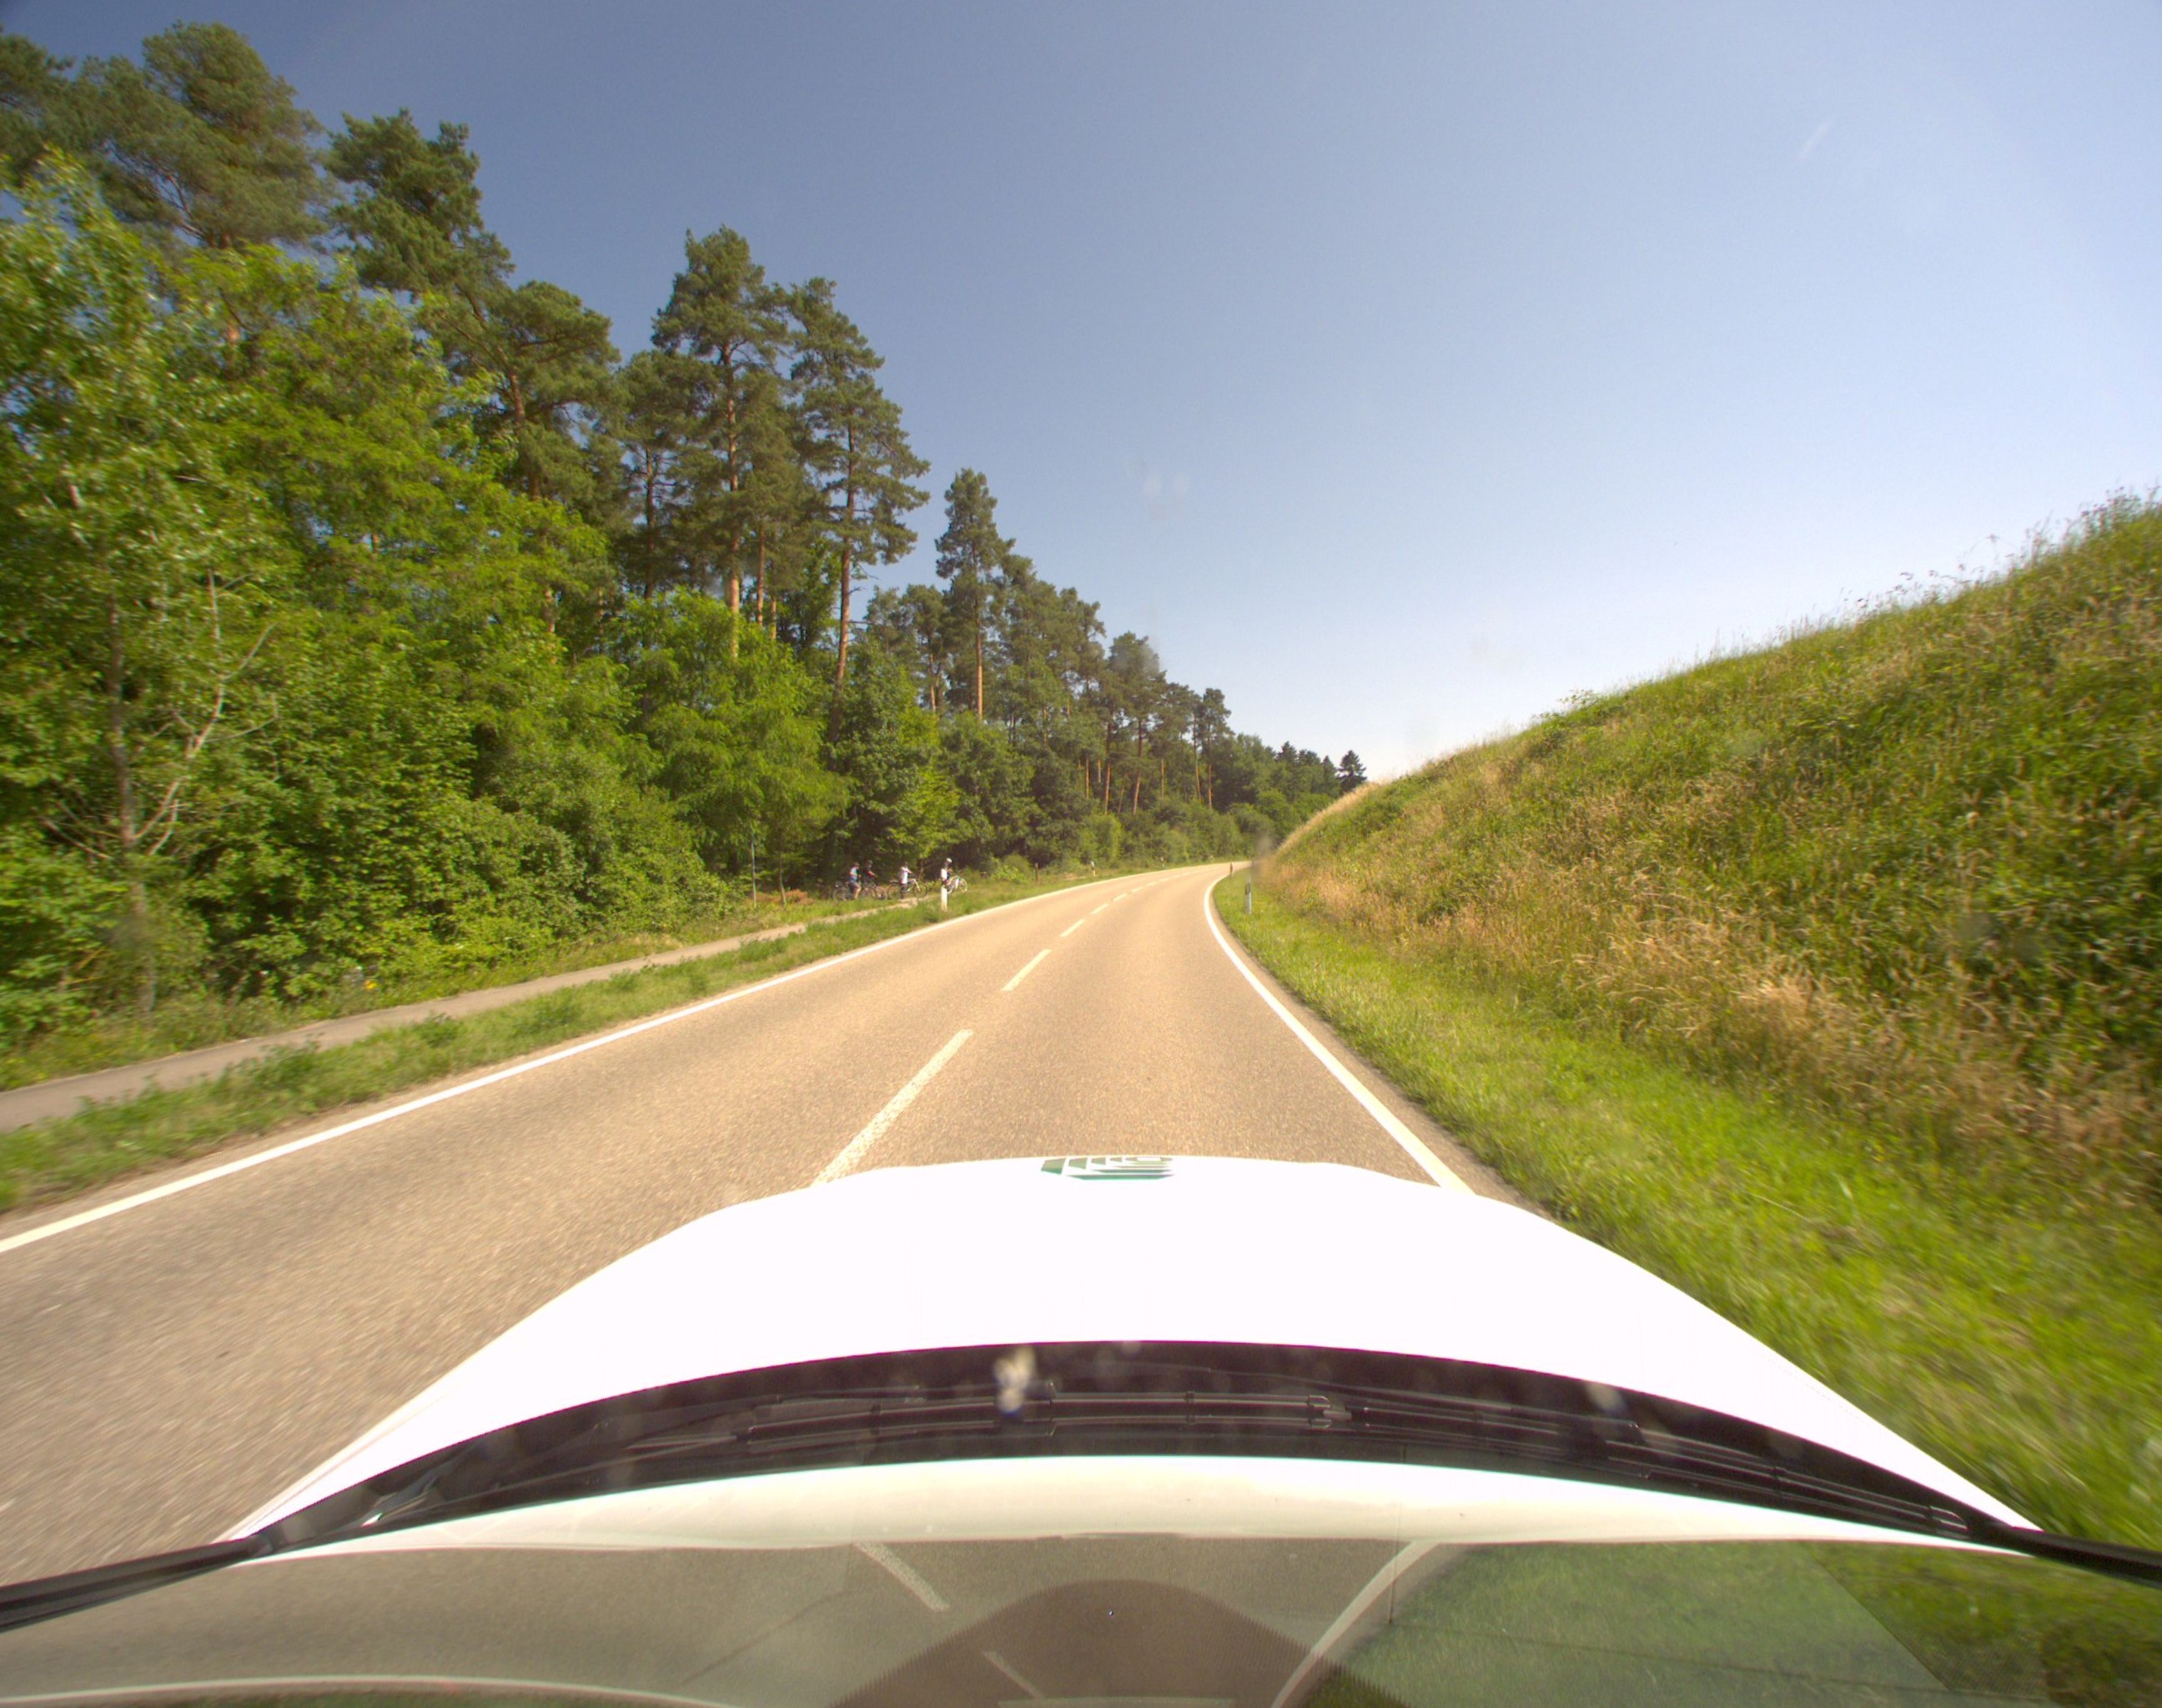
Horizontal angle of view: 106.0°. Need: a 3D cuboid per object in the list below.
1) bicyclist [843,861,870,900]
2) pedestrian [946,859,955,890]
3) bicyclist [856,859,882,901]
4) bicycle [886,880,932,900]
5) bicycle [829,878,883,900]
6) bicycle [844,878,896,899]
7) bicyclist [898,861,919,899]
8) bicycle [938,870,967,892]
[{"bbox_3d":[-8.971,1.050,32.482,0.875,1.545,0.599,1,-1,-37],"label":"bicyclist"},{"bbox_3d":[-6.763,1.058,42.176,0.282,1.538,0.391,-2,0,4],"label":"pedestrian"},{"bbox_3d":[-8.789,1.056,33.773,0.854,1.701,0.599,1,-1,-37],"label":"bicyclist"},{"bbox_3d":[-7.906,1.642,37.417,1.991,0.829,0.600,0,-1,-31],"label":"bicycle"},{"bbox_3d":[-8.968,1.378,32.468,1.994,0.829,0.599,0,-1,-37],"label":"bicycle"},{"bbox_3d":[-8.718,1.425,33.691,1.994,0.829,0.599,0,-1,-37],"label":"bicycle"},{"bbox_3d":[-7.921,1.169,37.403,0.792,1.719,0.600,0,-1,-30],"label":"bicyclist"},{"bbox_3d":[-6.621,1.385,42.040,0.575,1.086,1.457,0,2,38],"label":"bicycle"}]
